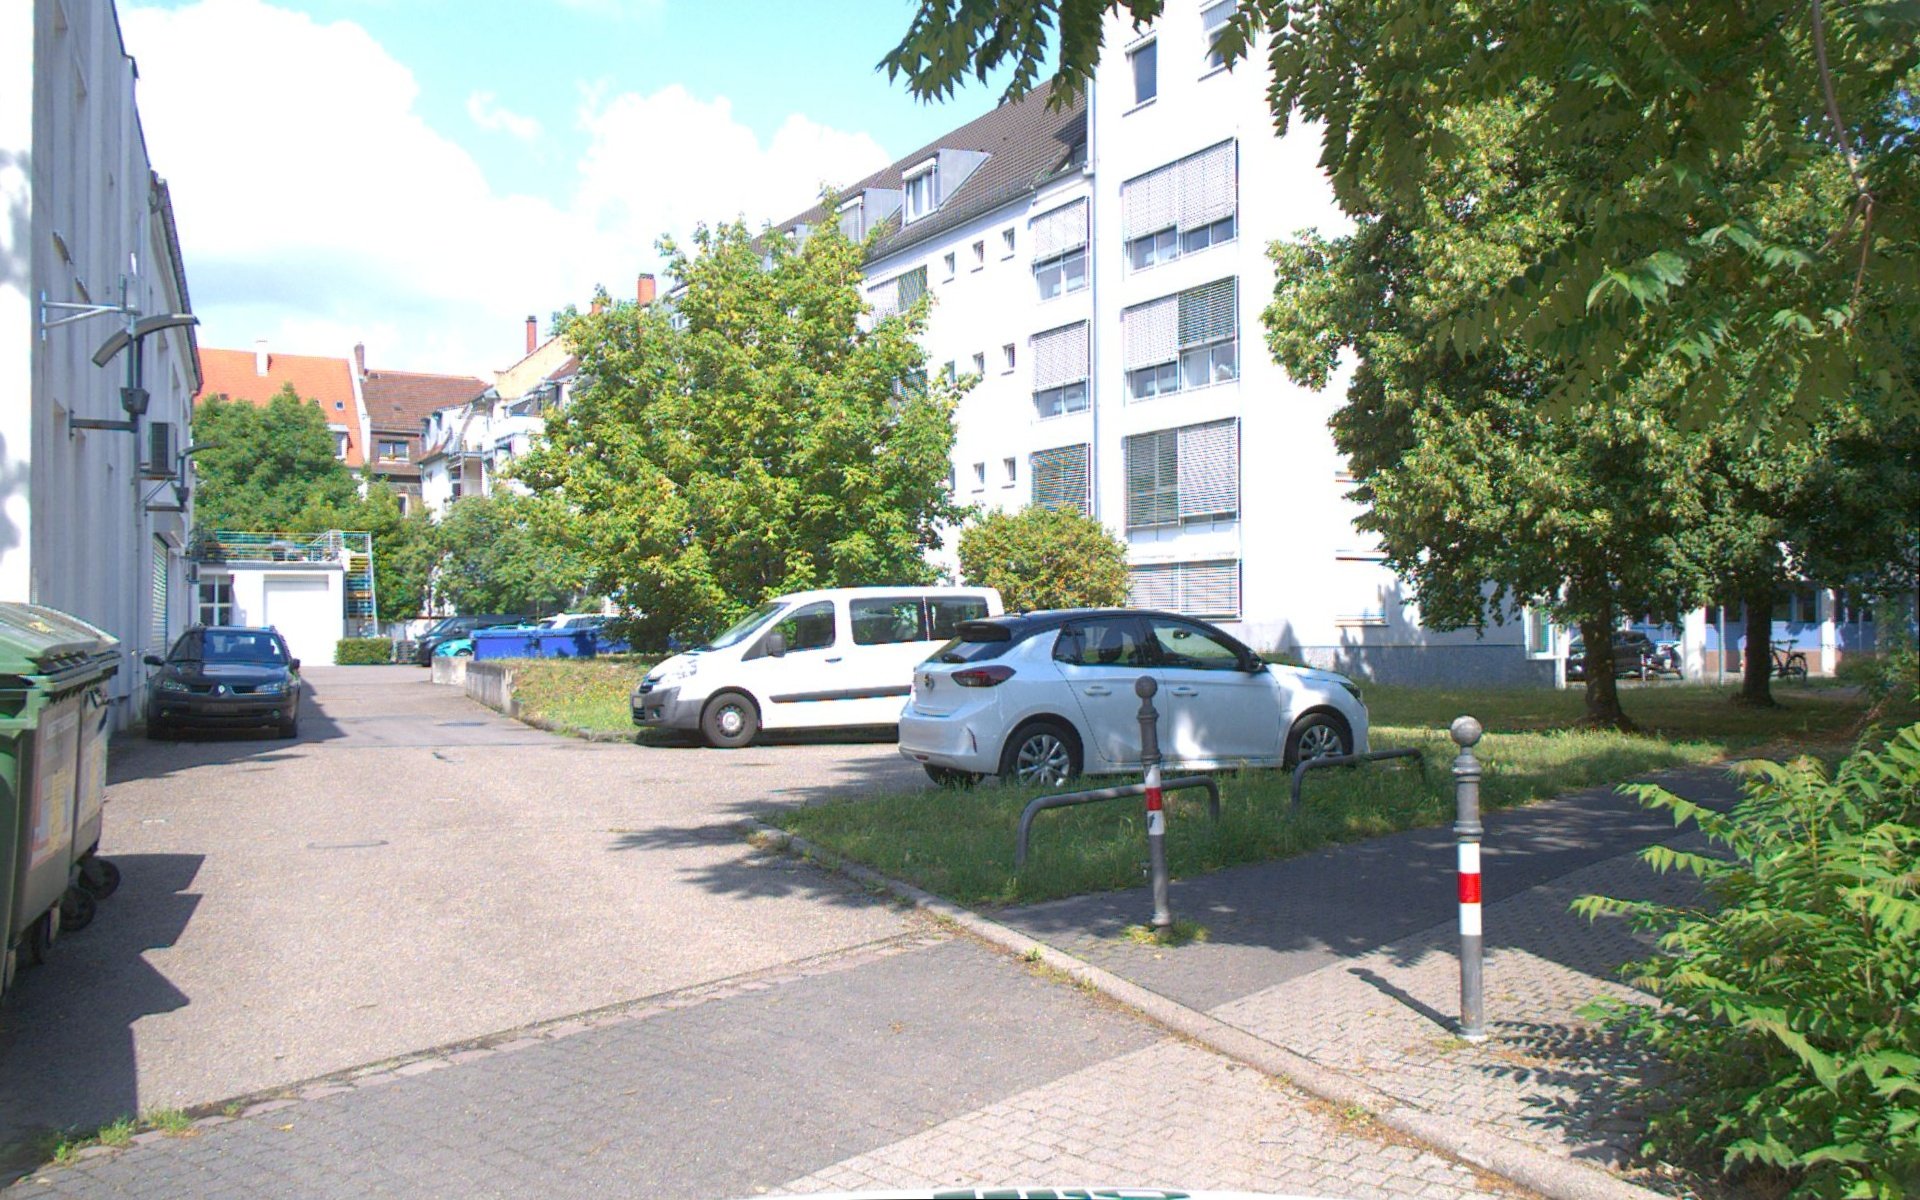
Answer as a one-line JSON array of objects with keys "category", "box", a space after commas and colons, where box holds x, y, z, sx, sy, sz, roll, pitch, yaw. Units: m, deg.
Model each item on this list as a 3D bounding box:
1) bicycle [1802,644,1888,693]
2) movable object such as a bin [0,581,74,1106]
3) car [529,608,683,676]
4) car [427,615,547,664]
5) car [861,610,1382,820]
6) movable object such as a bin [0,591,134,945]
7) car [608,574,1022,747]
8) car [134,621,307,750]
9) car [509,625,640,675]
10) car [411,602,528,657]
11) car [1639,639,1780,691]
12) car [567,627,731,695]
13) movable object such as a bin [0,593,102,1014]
[{"category": "bicycle", "box": [27.884, 2.144, 52.104, 2.803, 1.445, 0.796, 1, 1, -23]}, {"category": "movable object such as a bin", "box": [-3.441, 0.679, 4.970, 1.092, 1.477, 1.216, 3, 1, -40]}, {"category": "car", "box": [-10.198, 1.197, 47.730, 3.943, 1.776, 1.931, 1, 2, -29]}, {"category": "car", "box": [-17.318, 1.427, 60.574, 3.943, 1.601, 1.614, 0, 4, -29]}, {"category": "car", "box": [1.307, 0.836, 13.377, 3.853, 1.445, 1.745, 0, 1, -25]}, {"category": "movable object such as a bin", "box": [-4.561, 0.721, 7.696, 1.084, 1.477, 1.335, 3, 1, -22]}, {"category": "car", "box": [-1.829, 0.751, 20.985, 4.871, 1.999, 1.986, 1, -1, -23]}, {"category": "car", "box": [-9.802, 1.078, 22.043, 1.854, 1.467, 4.309, 3, -1, -23]}, {"category": "car", "box": [-12.830, 1.637, 55.080, 3.943, 1.469, 1.614, 0, 4, -30]}, {"category": "car", "box": [-18.725, 1.114, 63.174, 3.943, 1.848, 1.648, 3, 1, -30]}, {"category": "car", "box": [22.681, 1.946, 50.050, 3.851, 1.445, 1.747, 1, 1, -23]}, {"category": "car", "box": [-8.584, 1.695, 45.688, 4.067, 1.634, 1.739, 3, 1, -29]}, {"category": "movable object such as a bin", "box": [-4.047, 0.692, 6.240, 1.206, 1.477, 1.275, 3, -2, -21]}]
